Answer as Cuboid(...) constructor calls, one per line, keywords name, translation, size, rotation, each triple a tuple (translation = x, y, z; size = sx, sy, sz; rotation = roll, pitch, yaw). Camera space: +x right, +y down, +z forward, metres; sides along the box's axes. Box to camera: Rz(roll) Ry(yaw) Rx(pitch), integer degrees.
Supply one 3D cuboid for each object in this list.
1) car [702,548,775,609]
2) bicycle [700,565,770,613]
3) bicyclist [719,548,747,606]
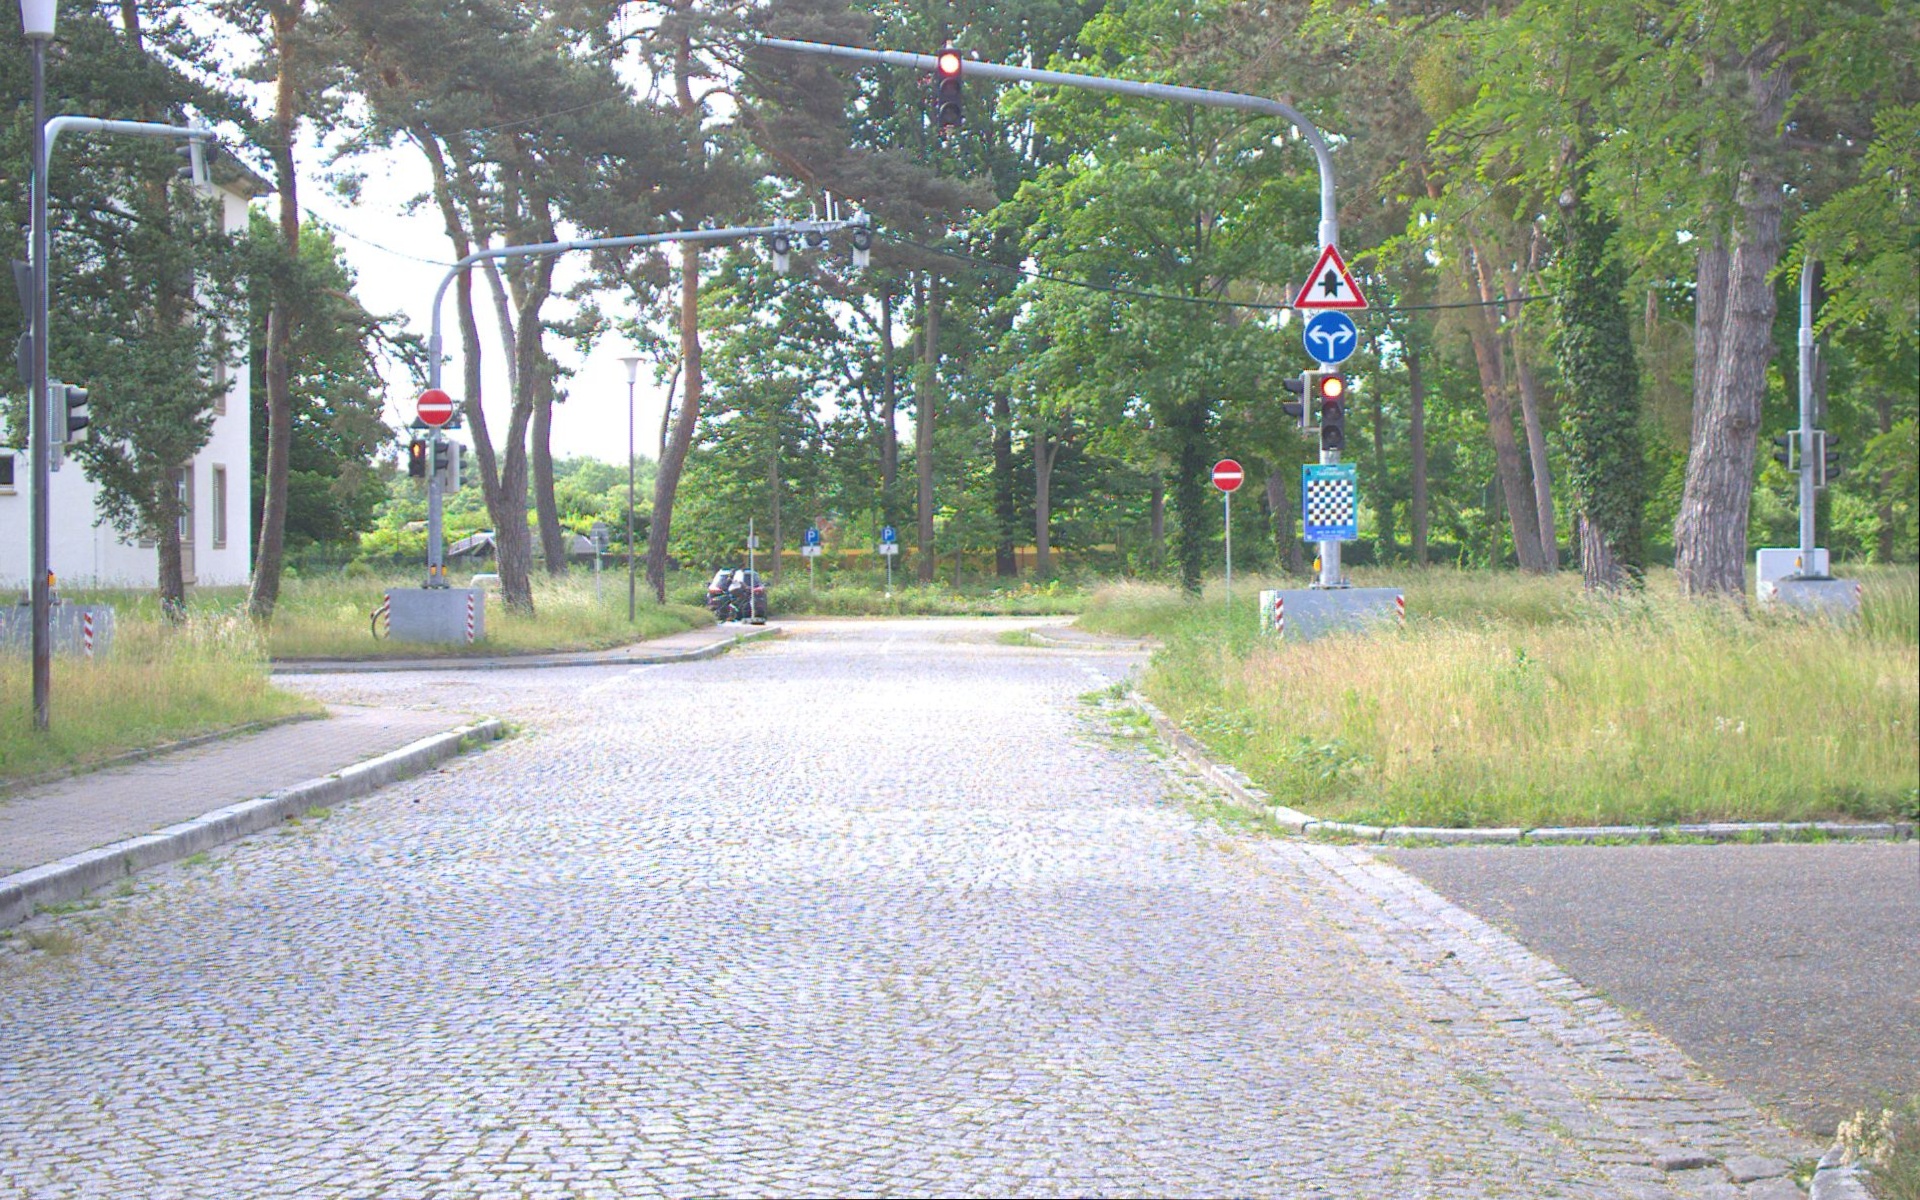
Cuboid(name="car", translation=(-6.813, -0.683, 106.065), size=(2.056, 1.840, 4.000), rotation=(0, 1, -1))
Cuboid(name="bicycle", translation=(-6.479, -0.318, 99.096), size=(1.969, 1.316, 0.518), rotation=(1, 0, -3))
Cuboid(name="bicyclist", translation=(-6.534, -0.661, 99.094), size=(0.749, 1.665, 0.526), rotation=(1, 0, -2))
